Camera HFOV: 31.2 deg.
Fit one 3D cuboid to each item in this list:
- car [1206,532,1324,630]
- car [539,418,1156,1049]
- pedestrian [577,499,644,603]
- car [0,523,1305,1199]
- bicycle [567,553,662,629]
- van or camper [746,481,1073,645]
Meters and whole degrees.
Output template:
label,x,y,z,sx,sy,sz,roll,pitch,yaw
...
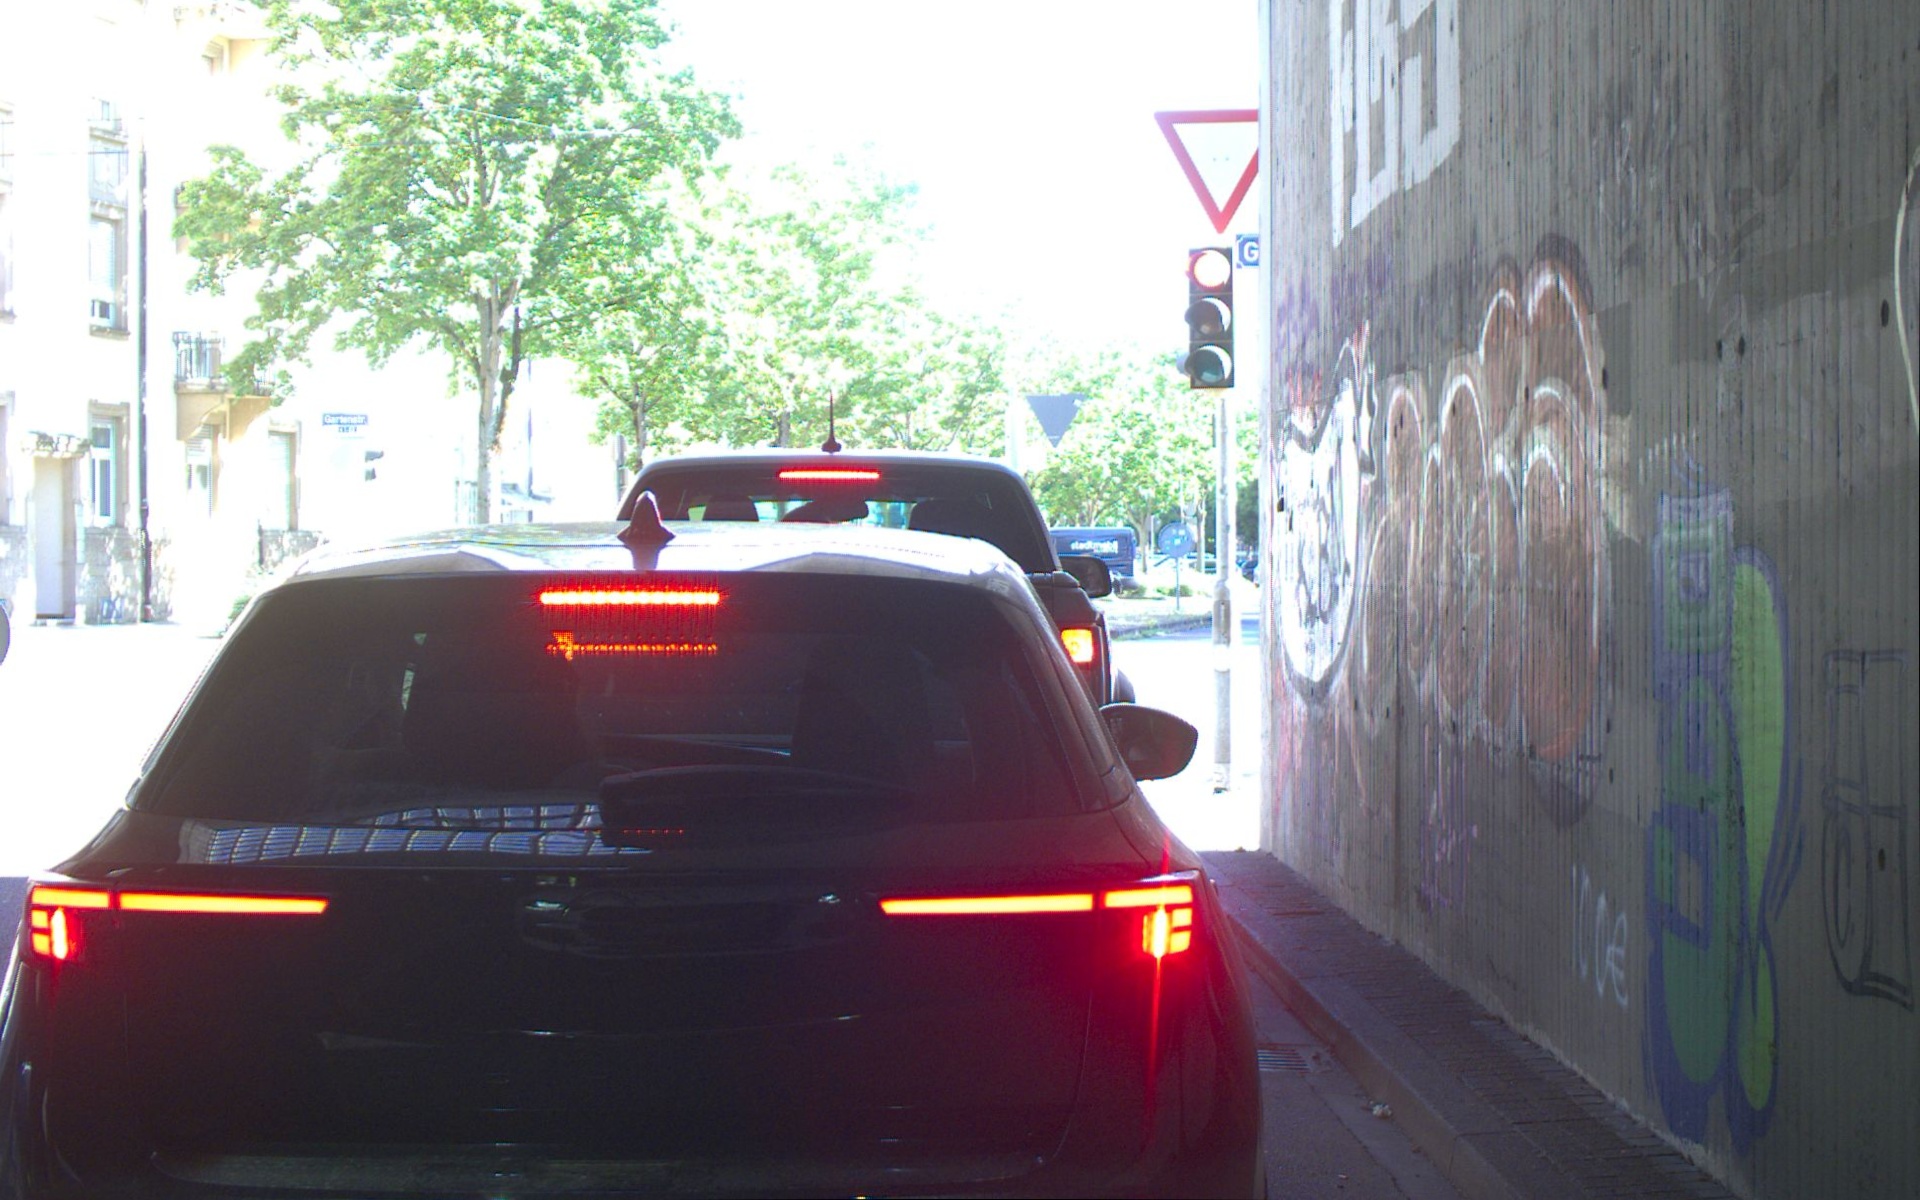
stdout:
label,x,y,z,sx,sy,sz,roll,pitch,yaw
car,5.357,-0.370,60.759,1.994,1.635,4.592,0,1,4
car,-0.346,0.354,12.027,1.786,1.827,3.961,1,1,0
pedestrian,-5.394,-0.754,53.128,0.736,1.579,0.889,1,0,15
car,-0.482,0.627,6.151,1.753,1.493,4.000,1,1,0
bicycle,-5.328,-0.151,53.130,0.737,1.126,2.025,0,1,17
van or camper,-0.602,-0.473,43.320,3.878,2.007,2.000,0,1,7
